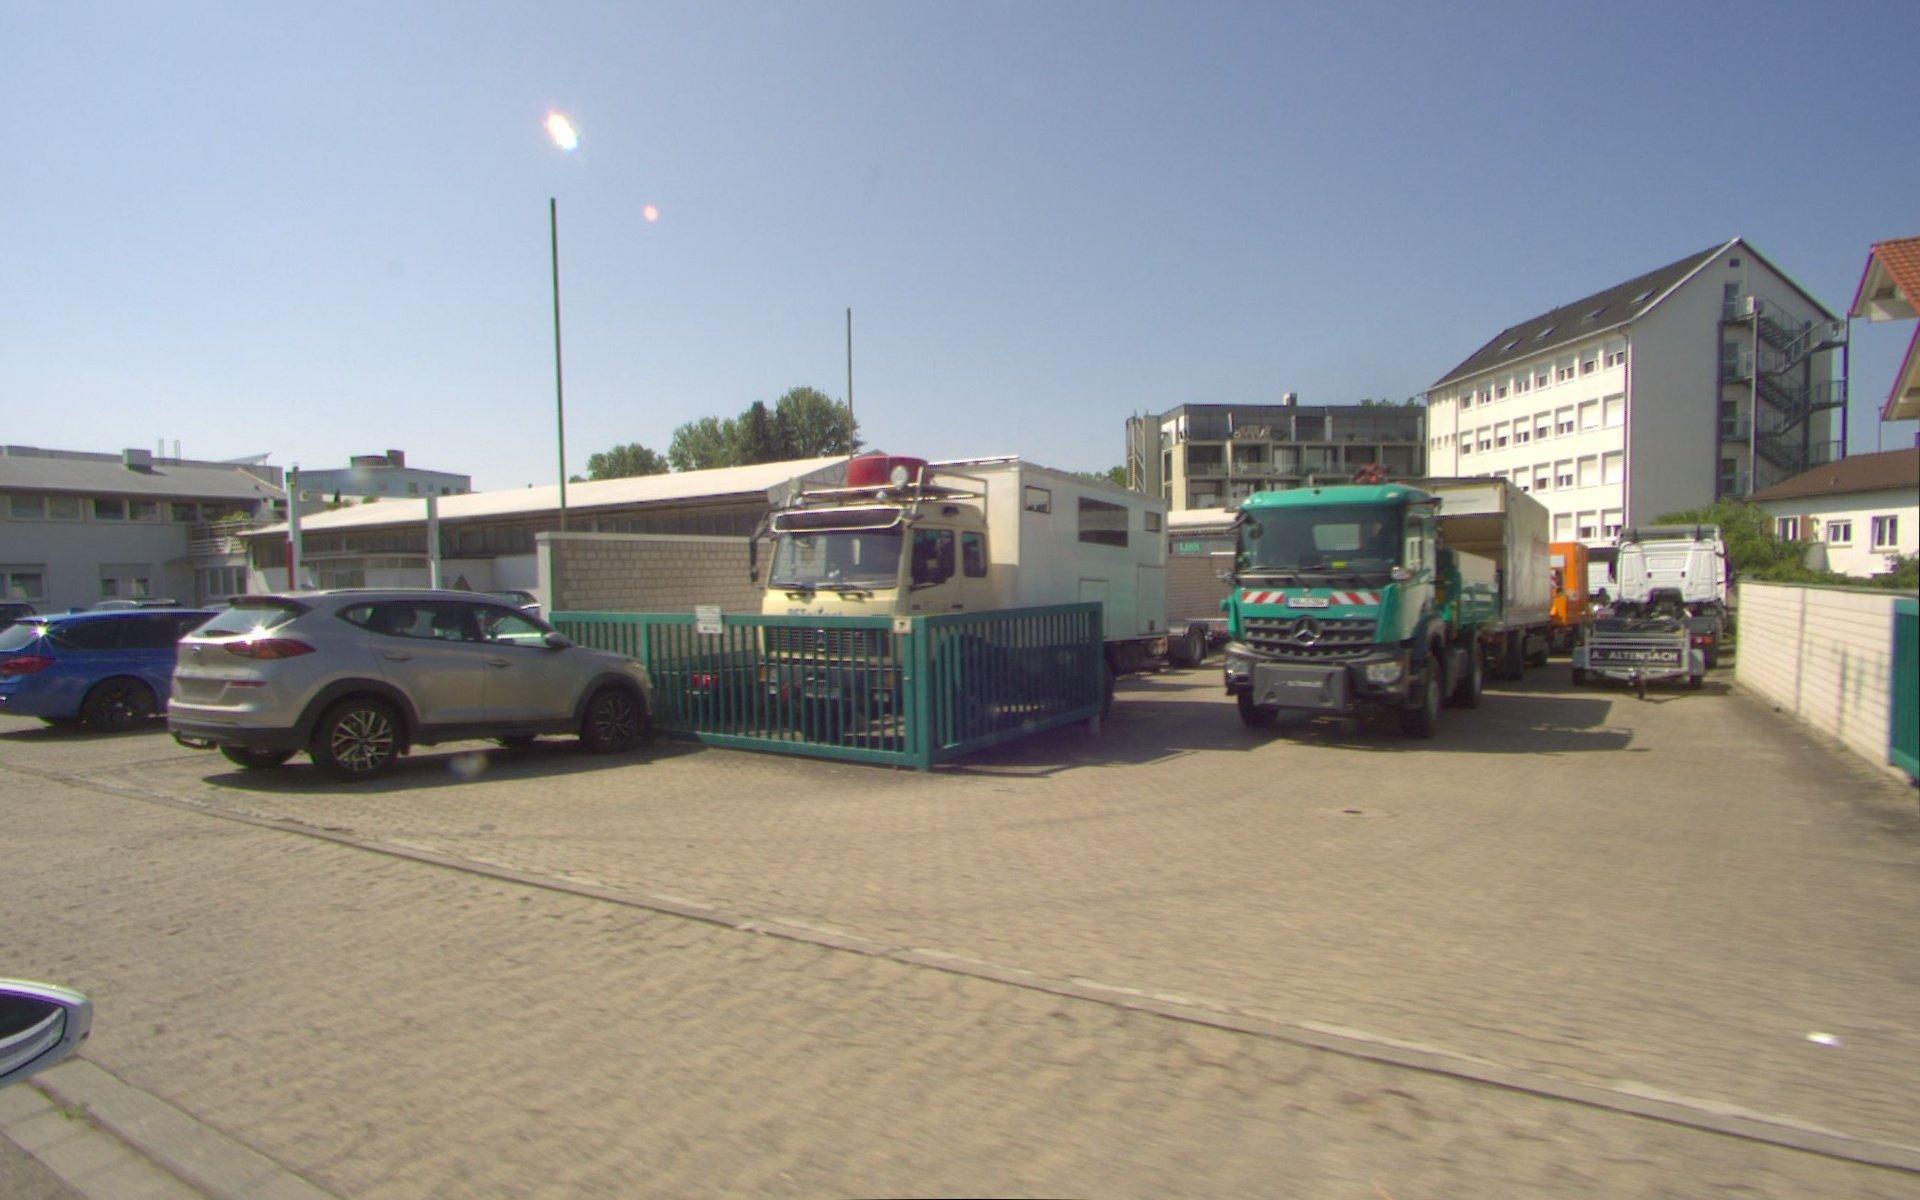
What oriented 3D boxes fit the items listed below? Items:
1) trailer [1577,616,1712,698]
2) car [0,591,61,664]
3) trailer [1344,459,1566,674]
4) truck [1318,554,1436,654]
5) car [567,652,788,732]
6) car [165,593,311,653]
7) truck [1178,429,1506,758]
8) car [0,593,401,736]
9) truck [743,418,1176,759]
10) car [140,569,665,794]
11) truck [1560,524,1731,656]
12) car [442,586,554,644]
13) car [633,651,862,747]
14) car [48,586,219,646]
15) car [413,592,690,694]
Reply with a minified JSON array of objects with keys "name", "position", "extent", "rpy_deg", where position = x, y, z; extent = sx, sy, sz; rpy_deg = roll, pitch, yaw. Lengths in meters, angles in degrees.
[{"name":"trailer","position":[13.028,1.014,19.255],"extent":[1.971,1.331,3.684],"rpy_deg":[0,0,32]},{"name":"car","position":[-22.588,0.610,23.274],"extent":[3.569,1.615,1.755],"rpy_deg":[1,-1,35]},{"name":"trailer","position":[11.380,-0.685,22.467],"extent":[3.028,3.915,8.302],"rpy_deg":[0,1,37]},{"name":"truck","position":[15.517,0.239,37.057],"extent":[2.887,3.406,5.670],"rpy_deg":[0,-2,35]},{"name":"car","position":[-3.871,1.231,14.074],"extent":[1.269,0.926,2.892],"rpy_deg":[0,-1,32]},{"name":"car","position":[-17.879,0.528,24.740],"extent":[4.044,1.342,1.637],"rpy_deg":[0,2,34]},{"name":"truck","position":[6.296,-0.121,15.396],"extent":[2.913,3.660,8.252],"rpy_deg":[0,1,34]},{"name":"car","position":[-10.081,0.698,13.233],"extent":[1.864,1.461,4.344],"rpy_deg":[0,2,31]},{"name":"truck","position":[0.546,0.010,14.046],"extent":[2.490,3.467,7.507],"rpy_deg":[0,-2,32]},{"name":"car","position":[-5.137,0.738,9.875],"extent":[1.741,1.703,4.197],"rpy_deg":[-1,-3,31]},{"name":"truck","position":[19.639,-0.225,28.787],"extent":[3.949,3.523,1.853],"rpy_deg":[0,-1,37]},{"name":"car","position":[-11.834,0.323,25.520],"extent":[1.694,1.342,4.154],"rpy_deg":[-2,2,-37]},{"name":"car","position":[-2.664,1.213,13.037],"extent":[1.269,1.016,2.892],"rpy_deg":[0,-1,32]},{"name":"car","position":[-22.676,0.425,27.482],"extent":[4.078,1.517,1.760],"rpy_deg":[-1,3,21]},{"name":"car","position":[-6.799,0.633,16.598],"extent":[4.387,1.461,1.883],"rpy_deg":[0,2,29]}]
